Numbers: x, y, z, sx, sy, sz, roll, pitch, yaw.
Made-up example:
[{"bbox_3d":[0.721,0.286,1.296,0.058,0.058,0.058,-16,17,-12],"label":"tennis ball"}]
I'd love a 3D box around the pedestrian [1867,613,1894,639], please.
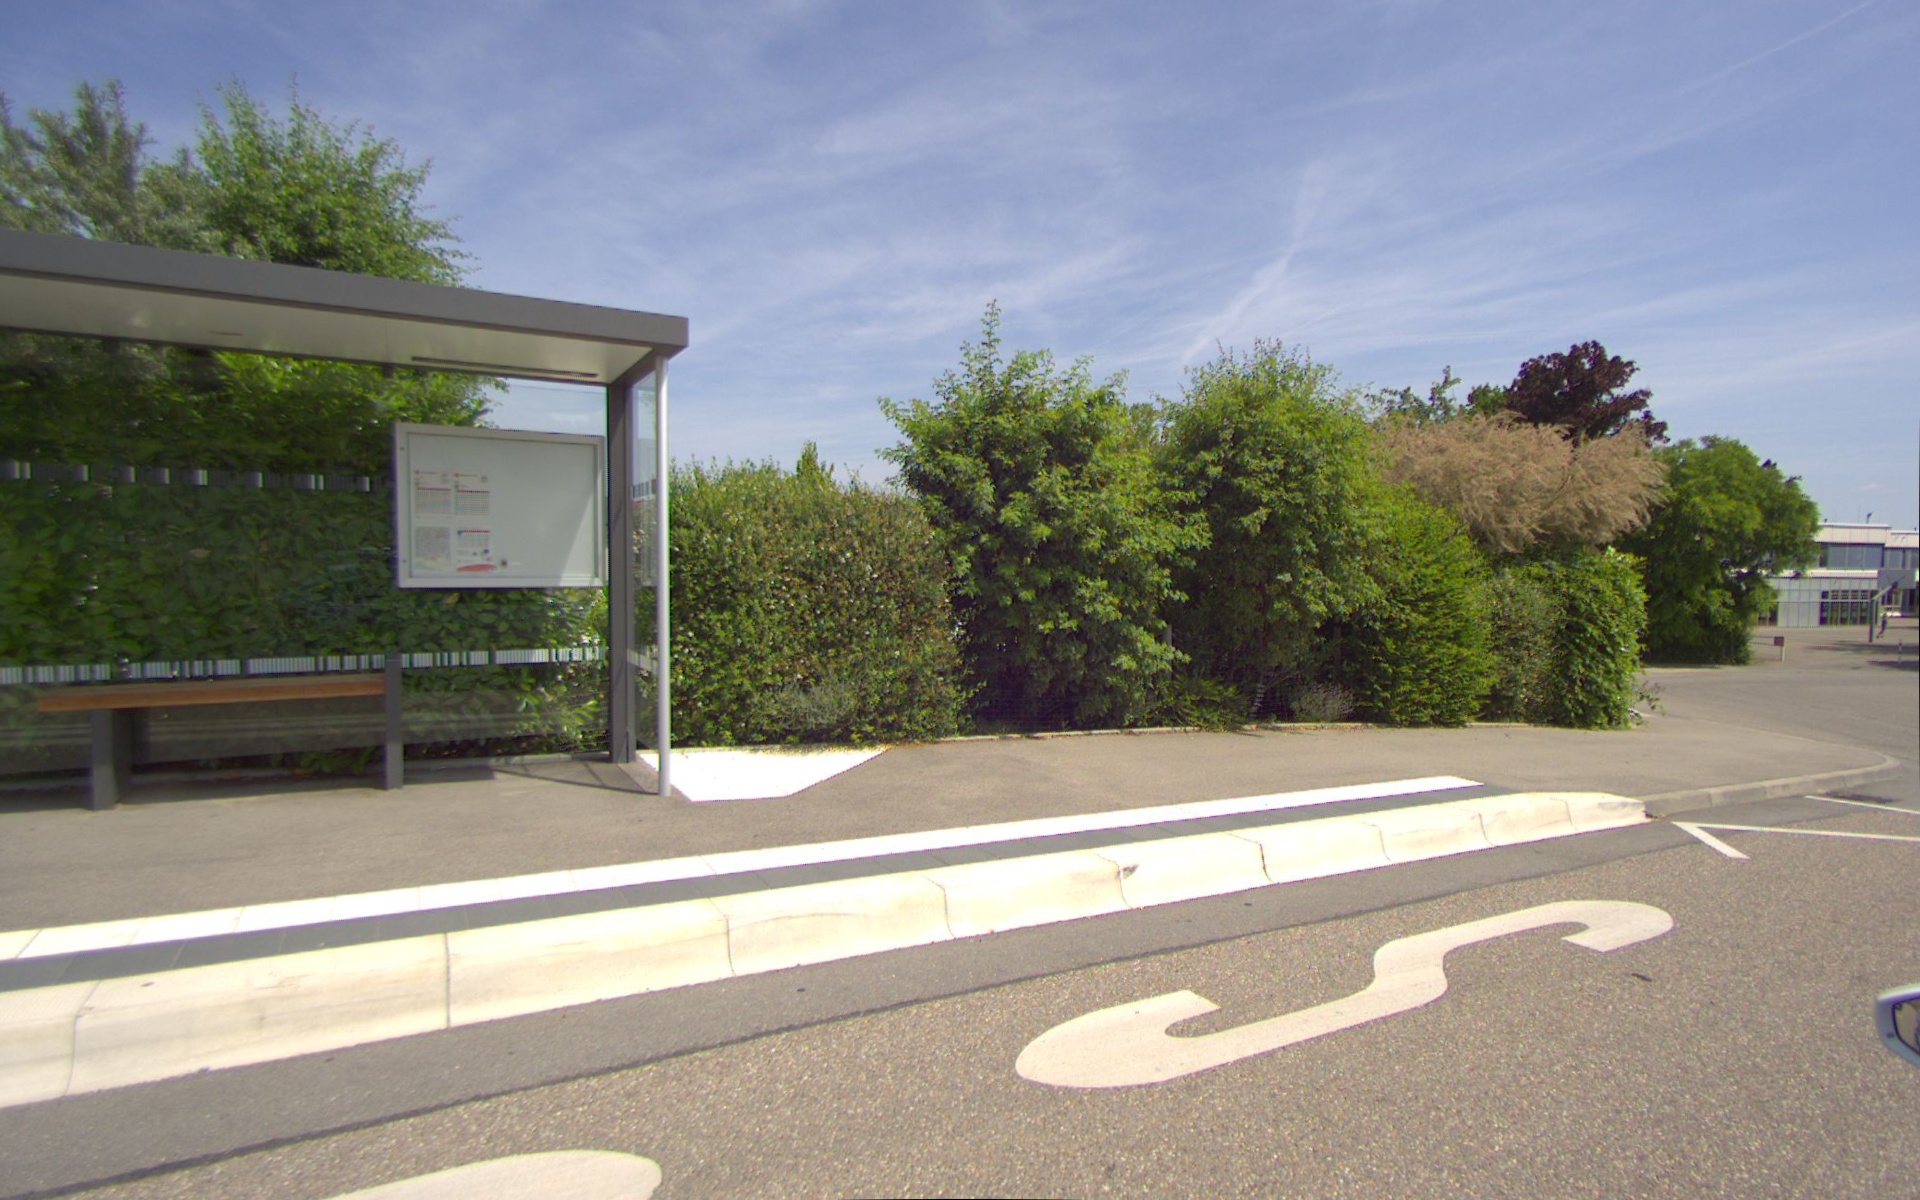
[{"bbox_3d":[51.510,1.447,56.212,1.055,1.442,0.914,1,1,44],"label":"pedestrian"}]
